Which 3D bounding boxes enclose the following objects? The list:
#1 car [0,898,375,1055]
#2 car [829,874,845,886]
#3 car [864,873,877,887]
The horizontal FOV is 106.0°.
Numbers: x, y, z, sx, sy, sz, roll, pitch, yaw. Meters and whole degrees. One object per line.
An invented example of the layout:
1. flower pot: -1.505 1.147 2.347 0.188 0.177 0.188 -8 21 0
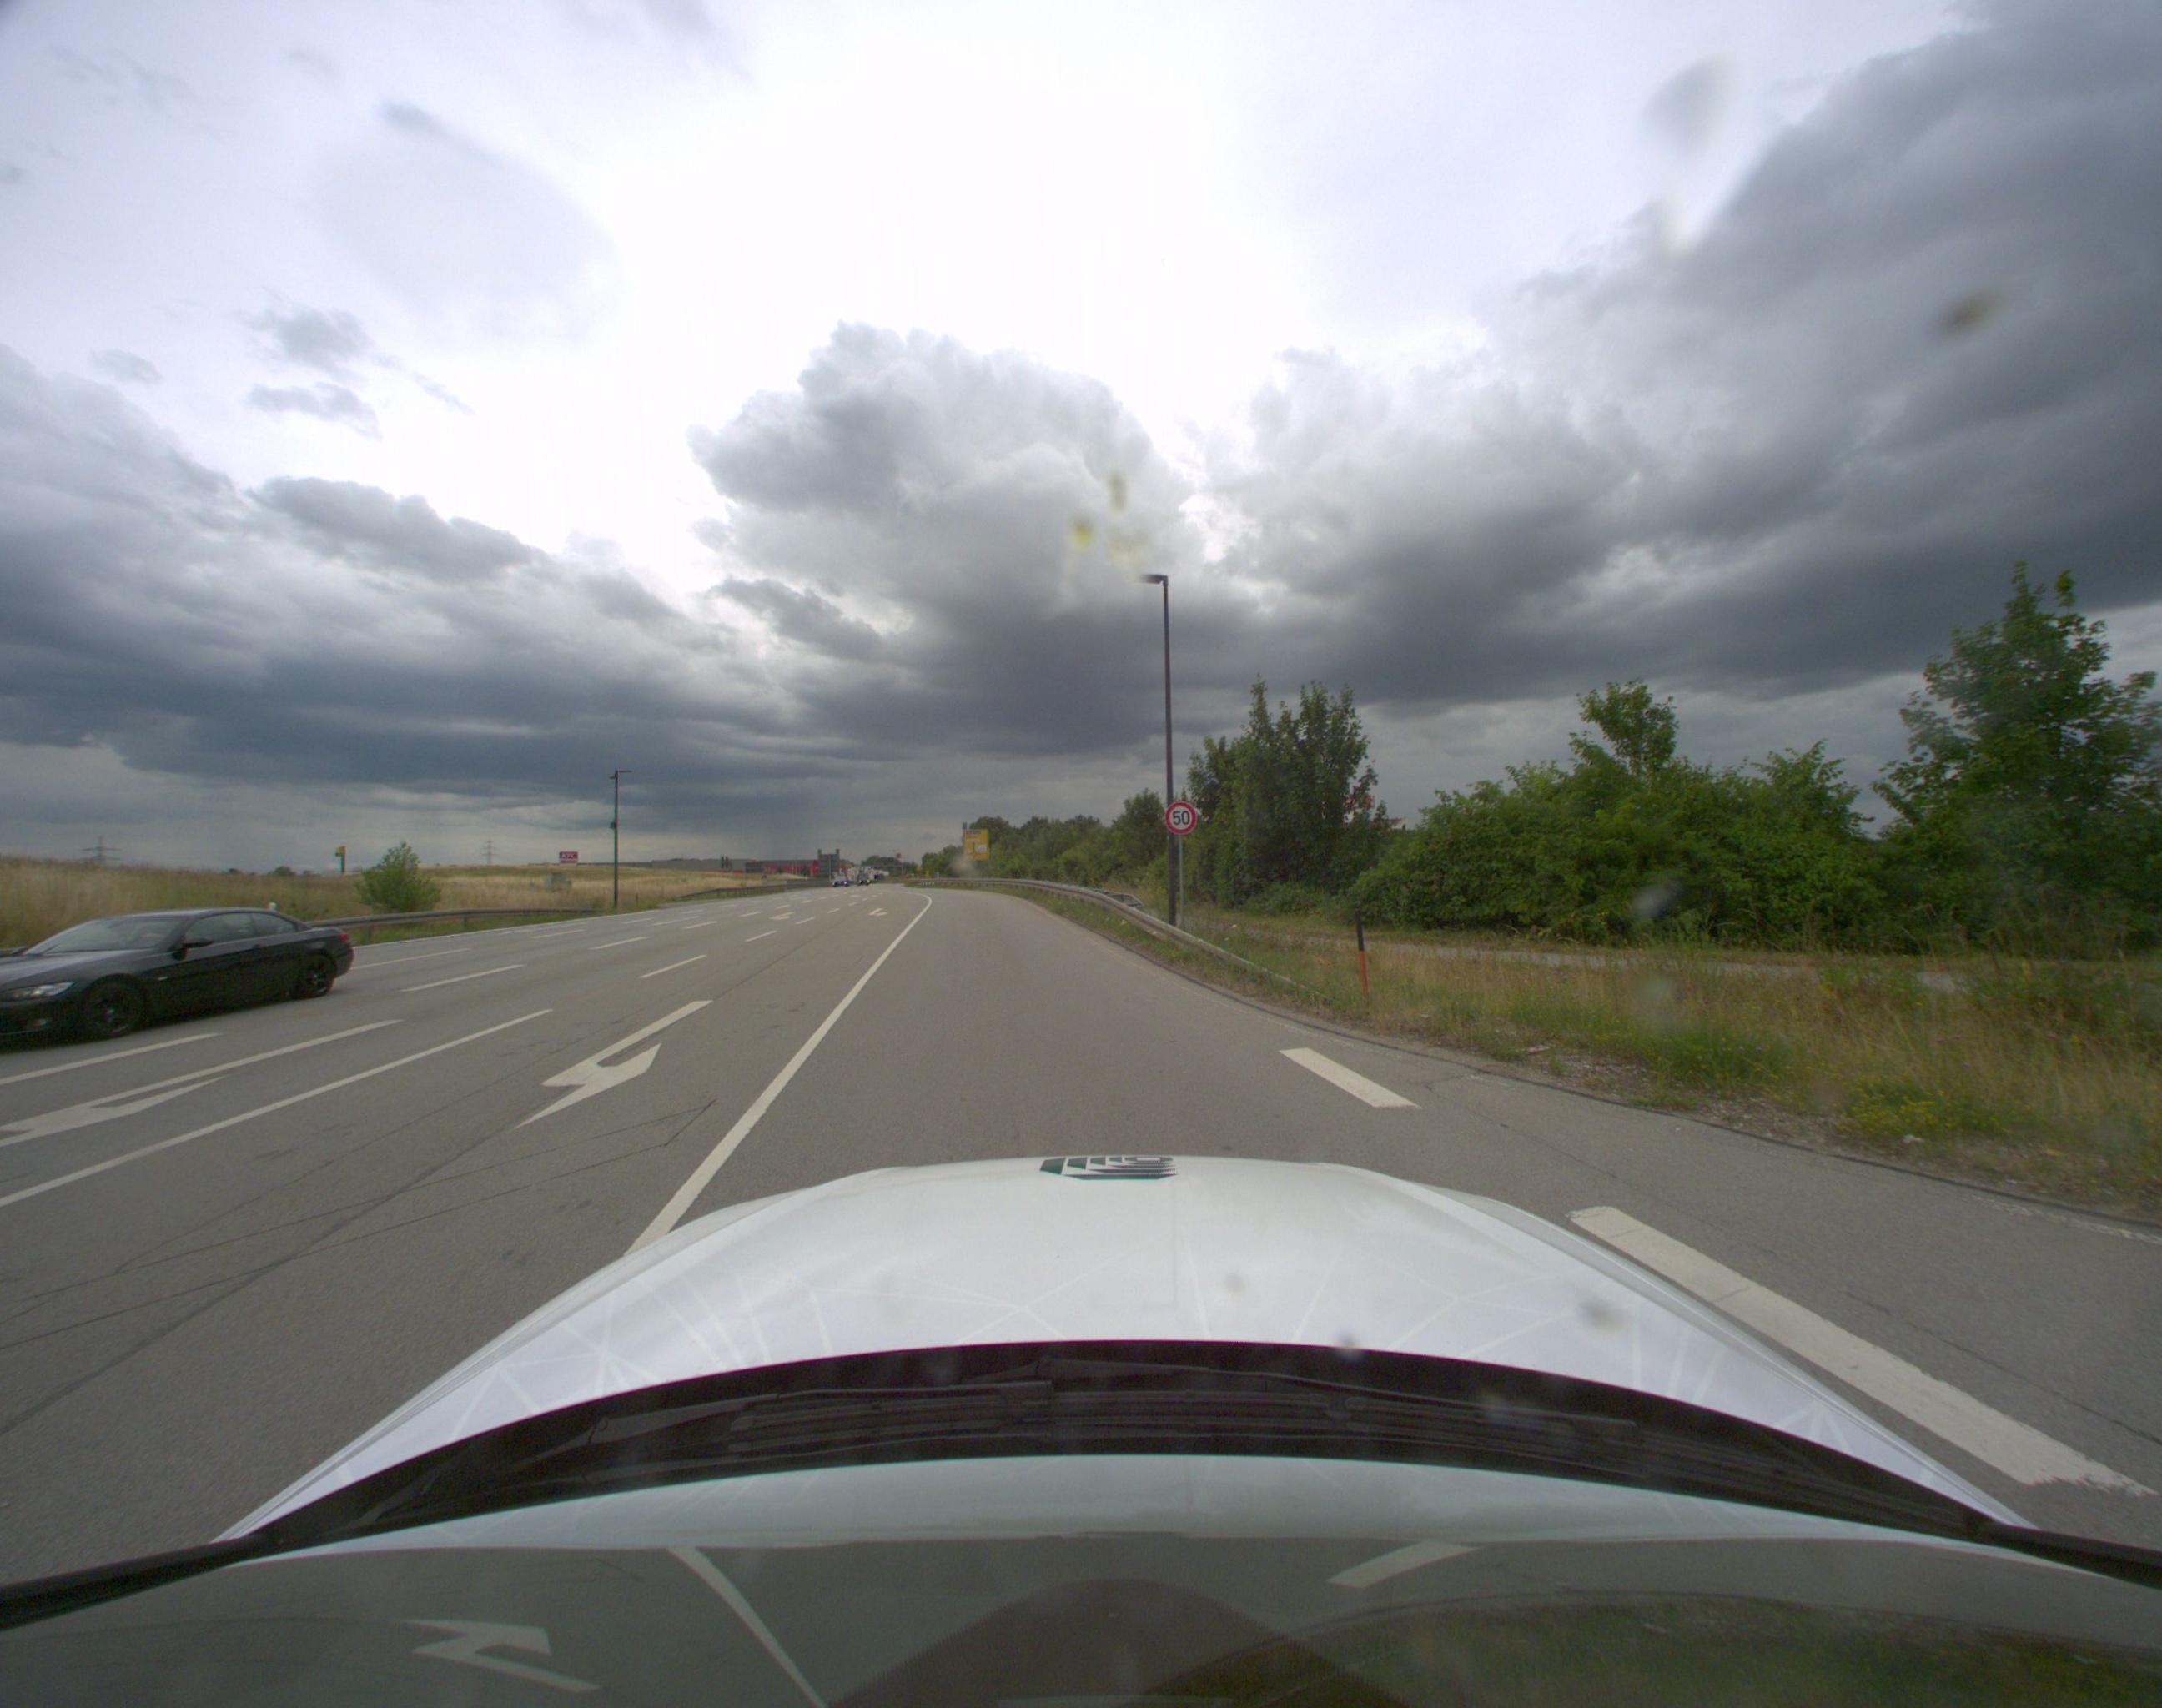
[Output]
1. car: -11.507 1.358 10.279 1.707 1.410 4.658 -2 -1 -10
2. car: -32.706 3.522 109.239 1.799 1.551 3.983 -2 -1 -12
3. car: -40.807 4.954 157.799 1.995 2.592 5.978 -2 -1 -12
